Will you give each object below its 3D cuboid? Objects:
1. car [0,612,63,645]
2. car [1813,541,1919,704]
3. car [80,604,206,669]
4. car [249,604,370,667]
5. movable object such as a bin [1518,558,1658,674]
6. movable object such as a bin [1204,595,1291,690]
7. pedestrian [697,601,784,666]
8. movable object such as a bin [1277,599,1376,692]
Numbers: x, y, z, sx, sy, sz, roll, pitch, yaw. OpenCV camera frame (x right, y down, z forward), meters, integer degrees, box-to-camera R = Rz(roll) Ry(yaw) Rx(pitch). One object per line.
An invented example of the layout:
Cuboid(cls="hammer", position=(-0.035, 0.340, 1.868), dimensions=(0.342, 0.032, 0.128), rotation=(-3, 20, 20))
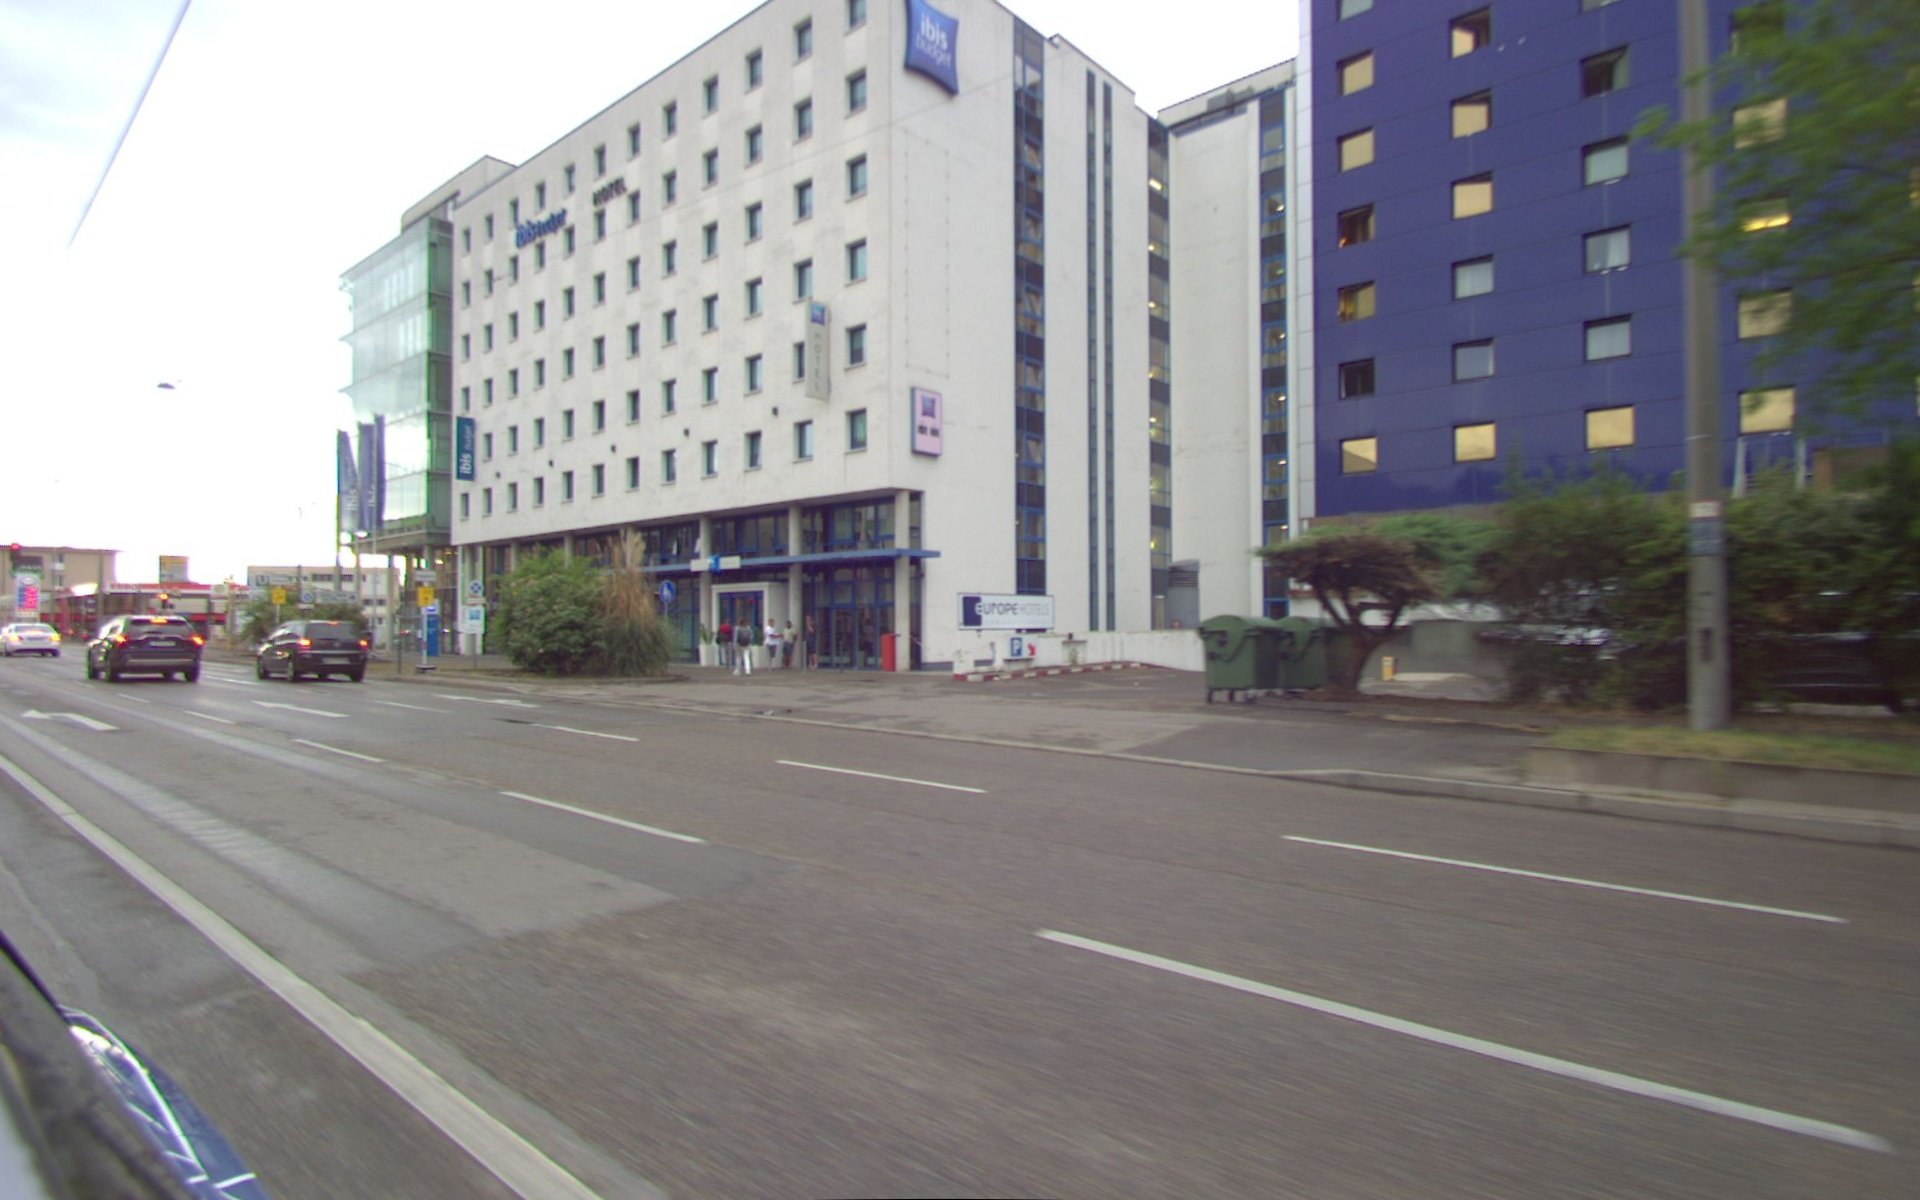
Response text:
Cuboid(cls="car", position=(-41.305, 1.226, 44.749), dimensions=(4.960, 1.397, 1.798), rotation=(-1, -2, 41))
Cuboid(cls="car", position=(13.400, 0.357, 12.510), dimensions=(4.314, 2.029, 1.817), rotation=(2, -2, 41))
Cuboid(cls="car", position=(-21.374, 0.991, 26.413), dimensions=(4.447, 1.568, 1.738), rotation=(-2, -5, 41))
Cuboid(cls="car", position=(-17.735, 0.978, 27.528), dimensions=(4.032, 1.578, 1.690), rotation=(-2, -4, 41))
Cuboid(cls="movable object such as a bin", position=(16.211, 0.477, 25.949), dimensions=(2.161, 2.648, 5.567), rotation=(2, -2, 41))
Cuboid(cls="movable object such as a bin", position=(4.780, 0.723, 16.773), dimensions=(0.949, 1.502, 1.378), rotation=(-4, -5, 34))
Cuboid(cls="pedestrian", position=(-6.189, 0.938, 28.488), dimensions=(1.966, 1.733, 1.700), rotation=(-1, -1, -30))
Cuboid(cls="movable object such as a bin", position=(6.235, 0.771, 17.213), dimensions=(1.372, 1.502, 0.953), rotation=(4, -2, -38))
